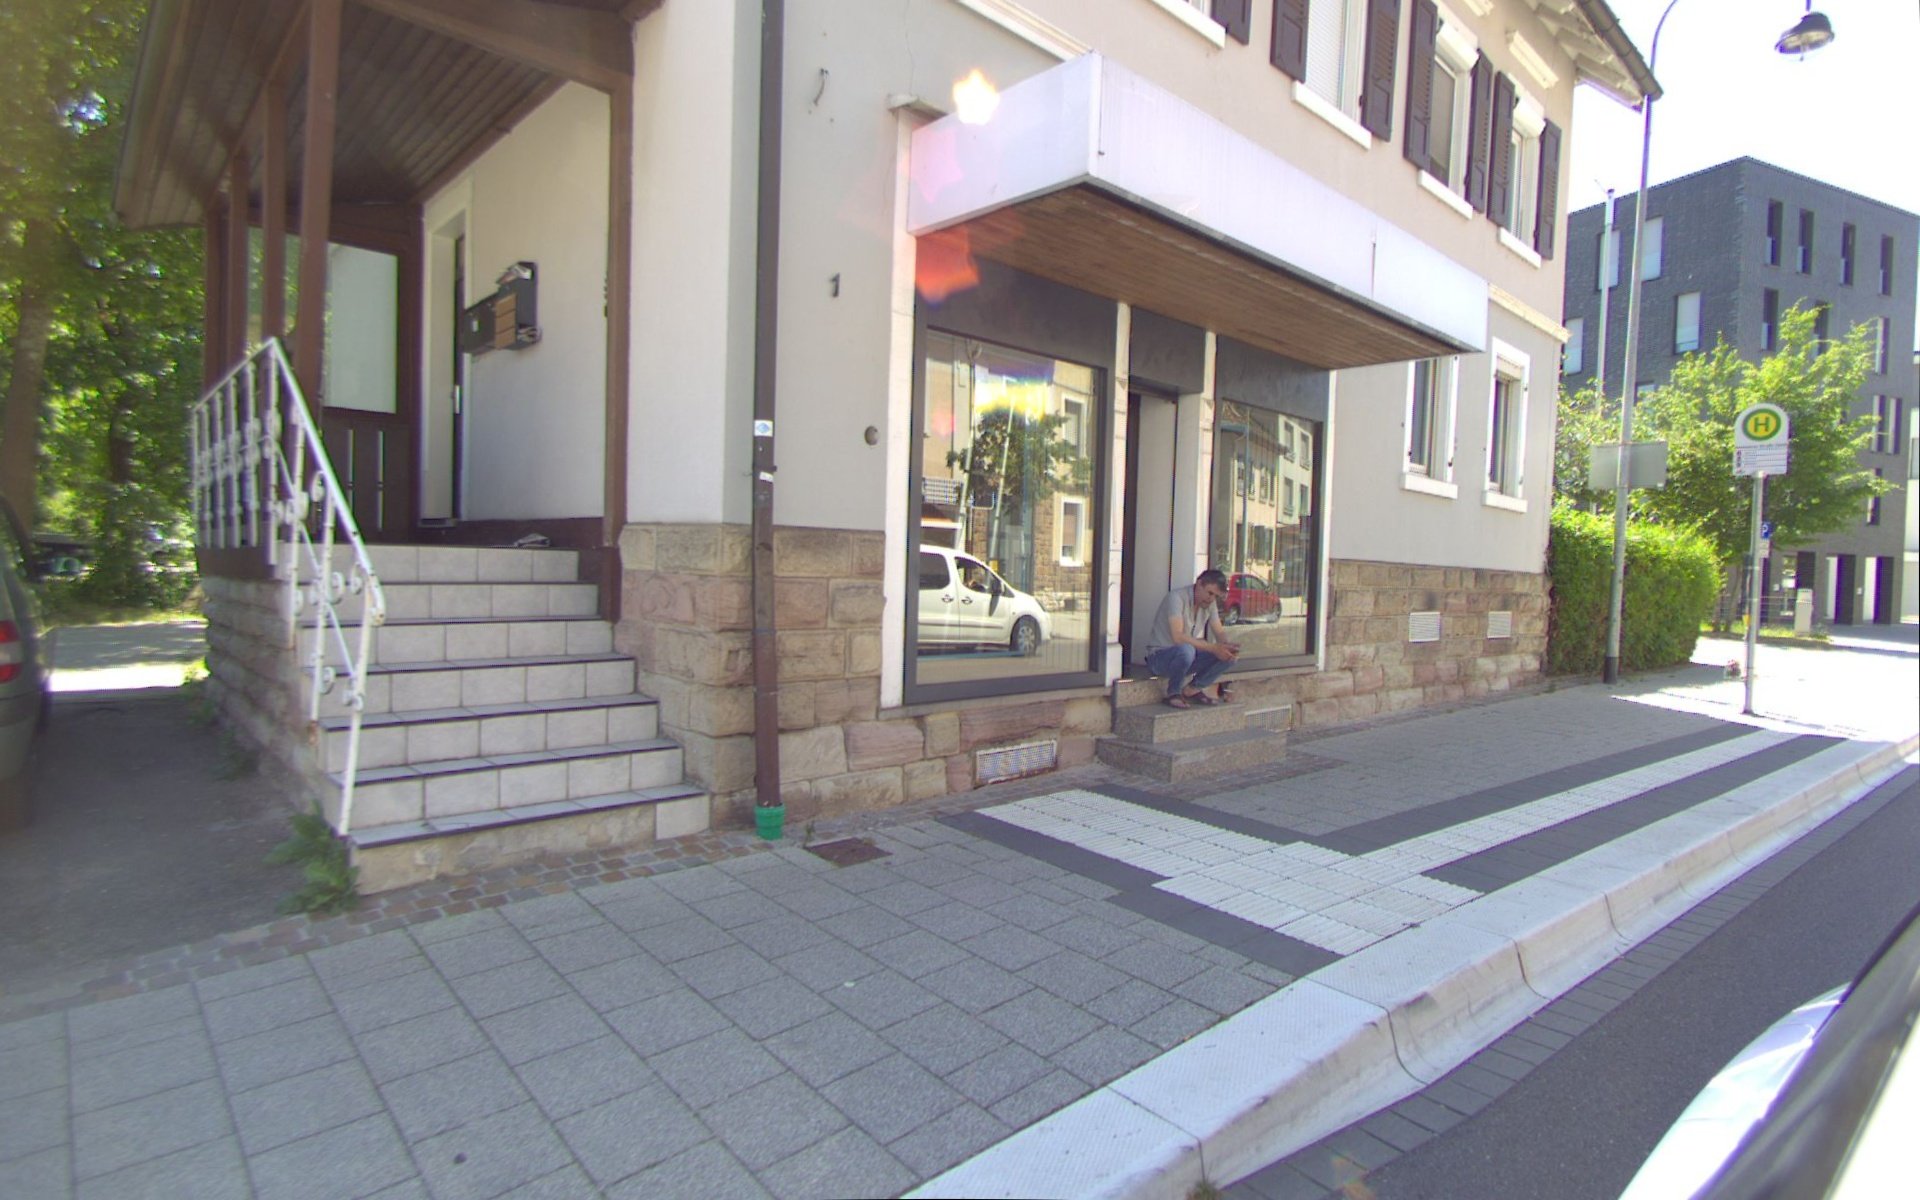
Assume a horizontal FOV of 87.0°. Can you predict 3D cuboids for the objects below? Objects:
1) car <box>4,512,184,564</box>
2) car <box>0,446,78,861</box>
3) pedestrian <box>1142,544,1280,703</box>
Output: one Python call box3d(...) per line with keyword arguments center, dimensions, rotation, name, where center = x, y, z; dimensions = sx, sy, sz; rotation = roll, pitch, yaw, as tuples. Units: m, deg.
box3d(center=(-43.276, -3.089, 50.757), dimensions=(6.623, 2.266, 2.199), rotation=(2, 2, -12), name="car")
box3d(center=(-5.563, 0.057, 4.993), dimensions=(1.770, 1.614, 4.071), rotation=(0, 4, -41), name="car")
box3d(center=(1.736, 0.138, 6.992), dimensions=(0.712, 1.011, 0.591), rotation=(0, 3, -43), name="pedestrian")
